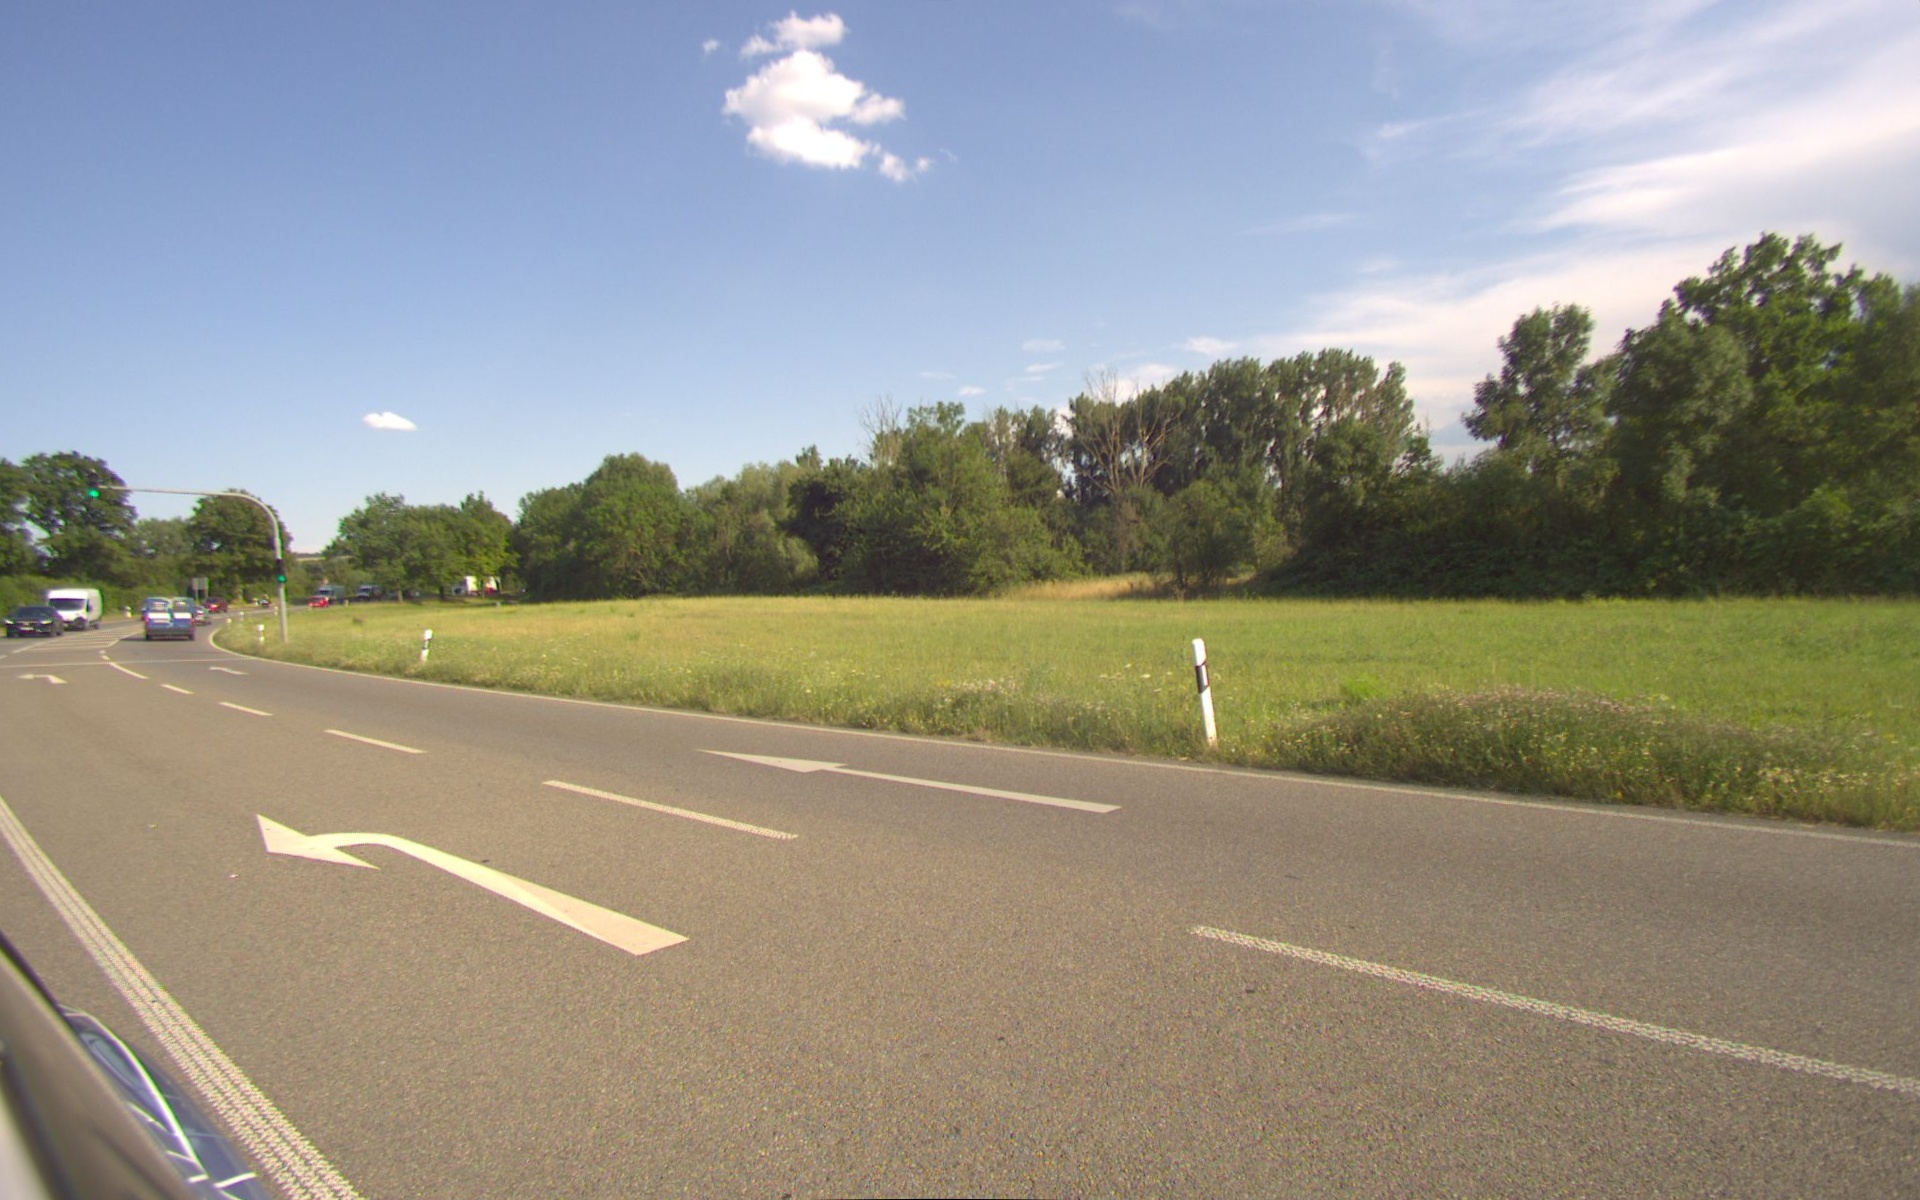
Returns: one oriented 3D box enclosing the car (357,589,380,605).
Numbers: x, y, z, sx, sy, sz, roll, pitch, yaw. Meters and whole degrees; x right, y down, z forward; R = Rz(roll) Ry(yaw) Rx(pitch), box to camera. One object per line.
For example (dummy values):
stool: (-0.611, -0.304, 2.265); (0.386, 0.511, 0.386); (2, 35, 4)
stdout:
car: (-95.384, -0.457, 163.274); (1.966, 2.405, 4.951); (-3, 1, -16)

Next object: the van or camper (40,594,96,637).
van or camper: (-54.702, 0.925, 62.153); (2.002, 2.494, 5.089); (-3, 1, -36)

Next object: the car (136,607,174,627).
car: (-67.118, 1.386, 84.383); (1.646, 1.490, 3.506); (-3, 1, -25)

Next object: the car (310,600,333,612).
car: (-81.513, 0.787, 129.269); (1.563, 1.478, 3.617); (0, -1, -16)

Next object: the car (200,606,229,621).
car: (-78.269, 1.425, 106.287); (1.646, 1.490, 3.506); (-3, 1, -23)

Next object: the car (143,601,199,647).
car: (-39.346, 1.187, 50.571); (1.972, 2.153, 4.790); (-1, 0, -36)

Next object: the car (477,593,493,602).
car: (-94.815, -0.452, 202.156); (1.615, 1.707, 3.621); (0, 0, -4)

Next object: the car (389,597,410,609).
car: (-91.683, 0.528, 165.656); (1.702, 1.897, 4.345); (0, -1, -10)

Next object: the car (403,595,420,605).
car: (-98.729, -0.060, 182.182); (1.632, 1.616, 3.878); (-3, 1, -11)

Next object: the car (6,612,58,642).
car: (-48.087, 1.379, 52.505); (1.582, 1.490, 3.624); (1, -2, -37)
